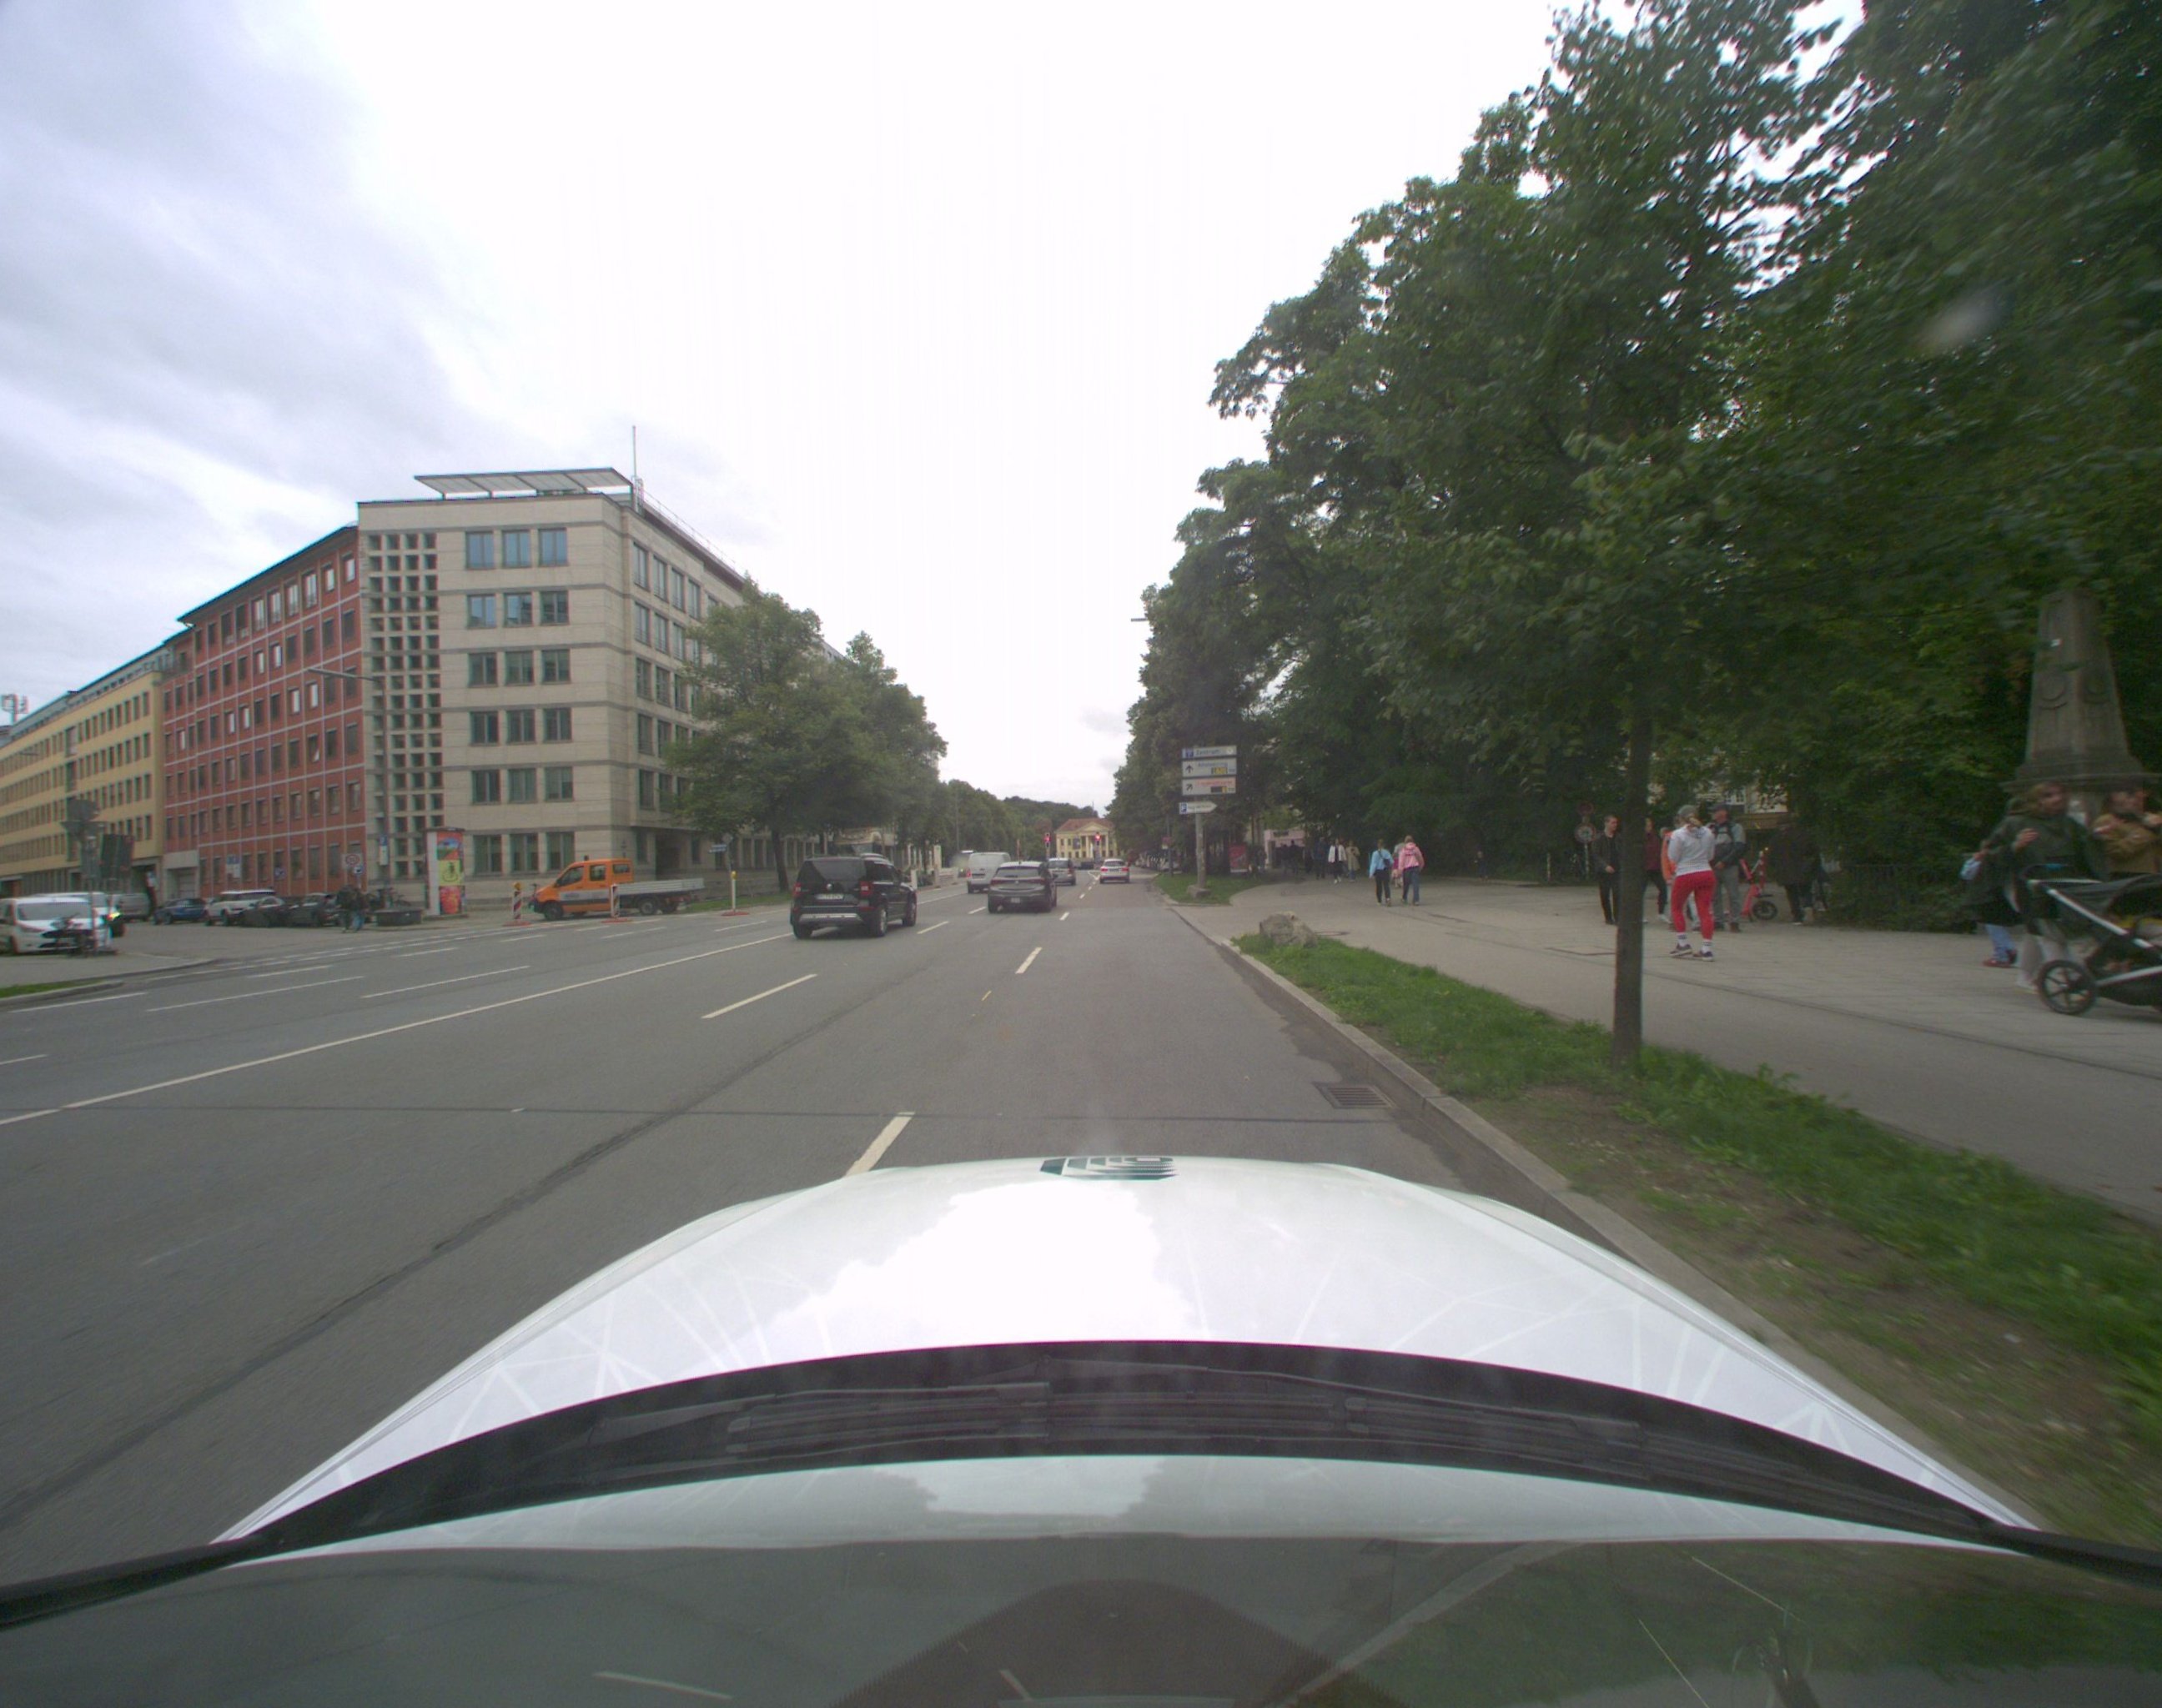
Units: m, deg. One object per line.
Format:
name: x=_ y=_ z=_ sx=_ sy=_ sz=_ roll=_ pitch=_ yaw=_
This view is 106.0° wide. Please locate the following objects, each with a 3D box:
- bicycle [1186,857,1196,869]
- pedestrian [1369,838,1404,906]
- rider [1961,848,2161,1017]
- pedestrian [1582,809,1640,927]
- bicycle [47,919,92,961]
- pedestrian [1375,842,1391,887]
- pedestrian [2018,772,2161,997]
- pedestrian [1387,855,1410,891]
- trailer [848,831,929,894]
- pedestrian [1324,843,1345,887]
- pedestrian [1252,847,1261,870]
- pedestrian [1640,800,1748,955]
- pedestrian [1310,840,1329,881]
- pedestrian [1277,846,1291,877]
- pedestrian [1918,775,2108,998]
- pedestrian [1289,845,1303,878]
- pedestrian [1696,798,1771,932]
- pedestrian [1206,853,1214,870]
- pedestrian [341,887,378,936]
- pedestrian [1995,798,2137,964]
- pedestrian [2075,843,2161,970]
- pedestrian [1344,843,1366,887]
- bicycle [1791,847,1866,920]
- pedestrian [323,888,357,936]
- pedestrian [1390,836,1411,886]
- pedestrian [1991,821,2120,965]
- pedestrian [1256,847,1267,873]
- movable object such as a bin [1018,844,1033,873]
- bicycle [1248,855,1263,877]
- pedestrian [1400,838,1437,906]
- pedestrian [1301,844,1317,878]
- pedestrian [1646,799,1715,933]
bicycle: x=10.757 y=0.881 z=79.712 sx=0.626 sy=1.231 sz=2.618 roll=-1 pitch=-1 yaw=0
pedestrian: x=7.618 y=0.454 z=20.352 sx=0.748 sy=1.644 sz=0.853 roll=-1 pitch=-1 yaw=17
rider: x=7.459 y=0.518 z=5.951 sx=0.760 sy=1.112 sz=1.246 roll=-1 pitch=-1 yaw=7
pedestrian: x=8.670 y=0.226 z=13.349 sx=0.604 sy=1.873 sz=0.696 roll=-1 pitch=-1 yaw=19
bicycle: x=-27.475 y=2.328 z=22.139 sx=1.822 sy=1.021 sz=0.589 roll=-3 pitch=-1 yaw=44
pedestrian: x=10.511 y=0.375 z=28.377 sx=0.481 sy=1.566 sz=0.575 roll=-1 pitch=-1 yaw=17
pedestrian: x=8.171 y=0.232 z=6.437 sx=0.722 sy=1.691 sz=0.649 roll=-1 pitch=-1 yaw=7
pedestrian: x=10.297 y=0.618 z=26.423 sx=0.626 sy=1.137 sz=0.575 roll=-1 pitch=-1 yaw=17
trailer: x=-12.727 y=0.593 z=55.037 sx=2.942 sy=3.740 sz=11.761 roll=-1 pitch=-1 yaw=-2
pedestrian: x=9.754 y=0.427 z=31.370 sx=0.748 sy=1.644 sz=0.653 roll=-1 pitch=-1 yaw=17
pedestrian: x=12.604 y=0.341 z=58.512 sx=0.577 sy=1.675 sz=0.554 roll=-1 pitch=-1 yaw=6
pedestrian: x=6.939 y=0.264 z=9.256 sx=0.722 sy=1.691 sz=0.649 roll=-1 pitch=-1 yaw=7
pedestrian: x=10.383 y=0.293 z=35.400 sx=0.748 sy=1.737 sz=0.853 roll=-1 pitch=-1 yaw=17
pedestrian: x=10.910 y=0.409 z=43.838 sx=0.604 sy=1.681 sz=0.755 roll=-1 pitch=-1 yaw=6
pedestrian: x=7.425 y=0.252 z=6.530 sx=0.722 sy=1.691 sz=0.649 roll=-1 pitch=-1 yaw=7
pedestrian: x=11.539 y=0.399 z=43.709 sx=0.604 sy=1.763 sz=0.798 roll=-1 pitch=-1 yaw=6
pedestrian: x=9.433 y=0.163 z=11.802 sx=0.604 sy=1.873 sz=0.696 roll=-1 pitch=-1 yaw=19
pedestrian: x=14.694 y=0.862 z=92.951 sx=0.760 sy=1.910 sz=0.771 roll=-1 pitch=-1 yaw=3
pedestrian: x=-27.282 y=2.162 z=30.801 sx=0.678 sy=1.775 sz=0.785 roll=-1 pitch=-1 yaw=6
pedestrian: x=9.456 y=0.258 z=7.845 sx=0.546 sy=1.527 sz=0.649 roll=-1 pitch=-1 yaw=7
pedestrian: x=10.063 y=0.478 z=7.728 sx=0.455 sy=1.153 sz=0.649 roll=-1 pitch=-1 yaw=7
pedestrian: x=10.527 y=0.416 z=31.301 sx=0.748 sy=1.644 sz=0.694 roll=-1 pitch=-1 yaw=17
bicycle: x=13.196 y=0.497 z=14.367 sx=1.602 sy=1.240 sz=0.388 roll=0 pitch=-1 yaw=-26
pedestrian: x=-27.933 y=2.169 z=30.707 sx=0.679 sy=1.775 sz=0.675 roll=-1 pitch=-1 yaw=6
pedestrian: x=11.019 y=0.244 z=28.090 sx=0.626 sy=1.667 sz=0.575 roll=-1 pitch=-1 yaw=17
pedestrian: x=9.379 y=0.366 z=7.860 sx=0.455 sy=1.326 sz=0.649 roll=-1 pitch=-1 yaw=7
pedestrian: x=12.370 y=0.390 z=55.746 sx=0.627 sy=1.774 sz=0.783 roll=-1 pitch=-1 yaw=6
movable object such as a bin: x=-12.666 y=1.068 z=186.703 sx=2.689 sy=6.511 sz=5.179 roll=-1 pitch=-1 yaw=2
bicycle: x=8.525 y=0.583 z=39.748 sx=0.383 sy=1.021 sz=2.080 roll=-1 pitch=-1 yaw=3
pedestrian: x=8.325 y=0.441 z=20.142 sx=0.748 sy=1.644 sz=0.853 roll=-1 pitch=-1 yaw=17
pedestrian: x=12.000 y=0.384 z=42.870 sx=0.748 sy=1.737 sz=0.853 roll=-1 pitch=-1 yaw=17
pedestrian: x=8.819 y=0.180 z=12.003 sx=0.604 sy=1.914 sz=0.696 roll=-1 pitch=-1 yaw=19
